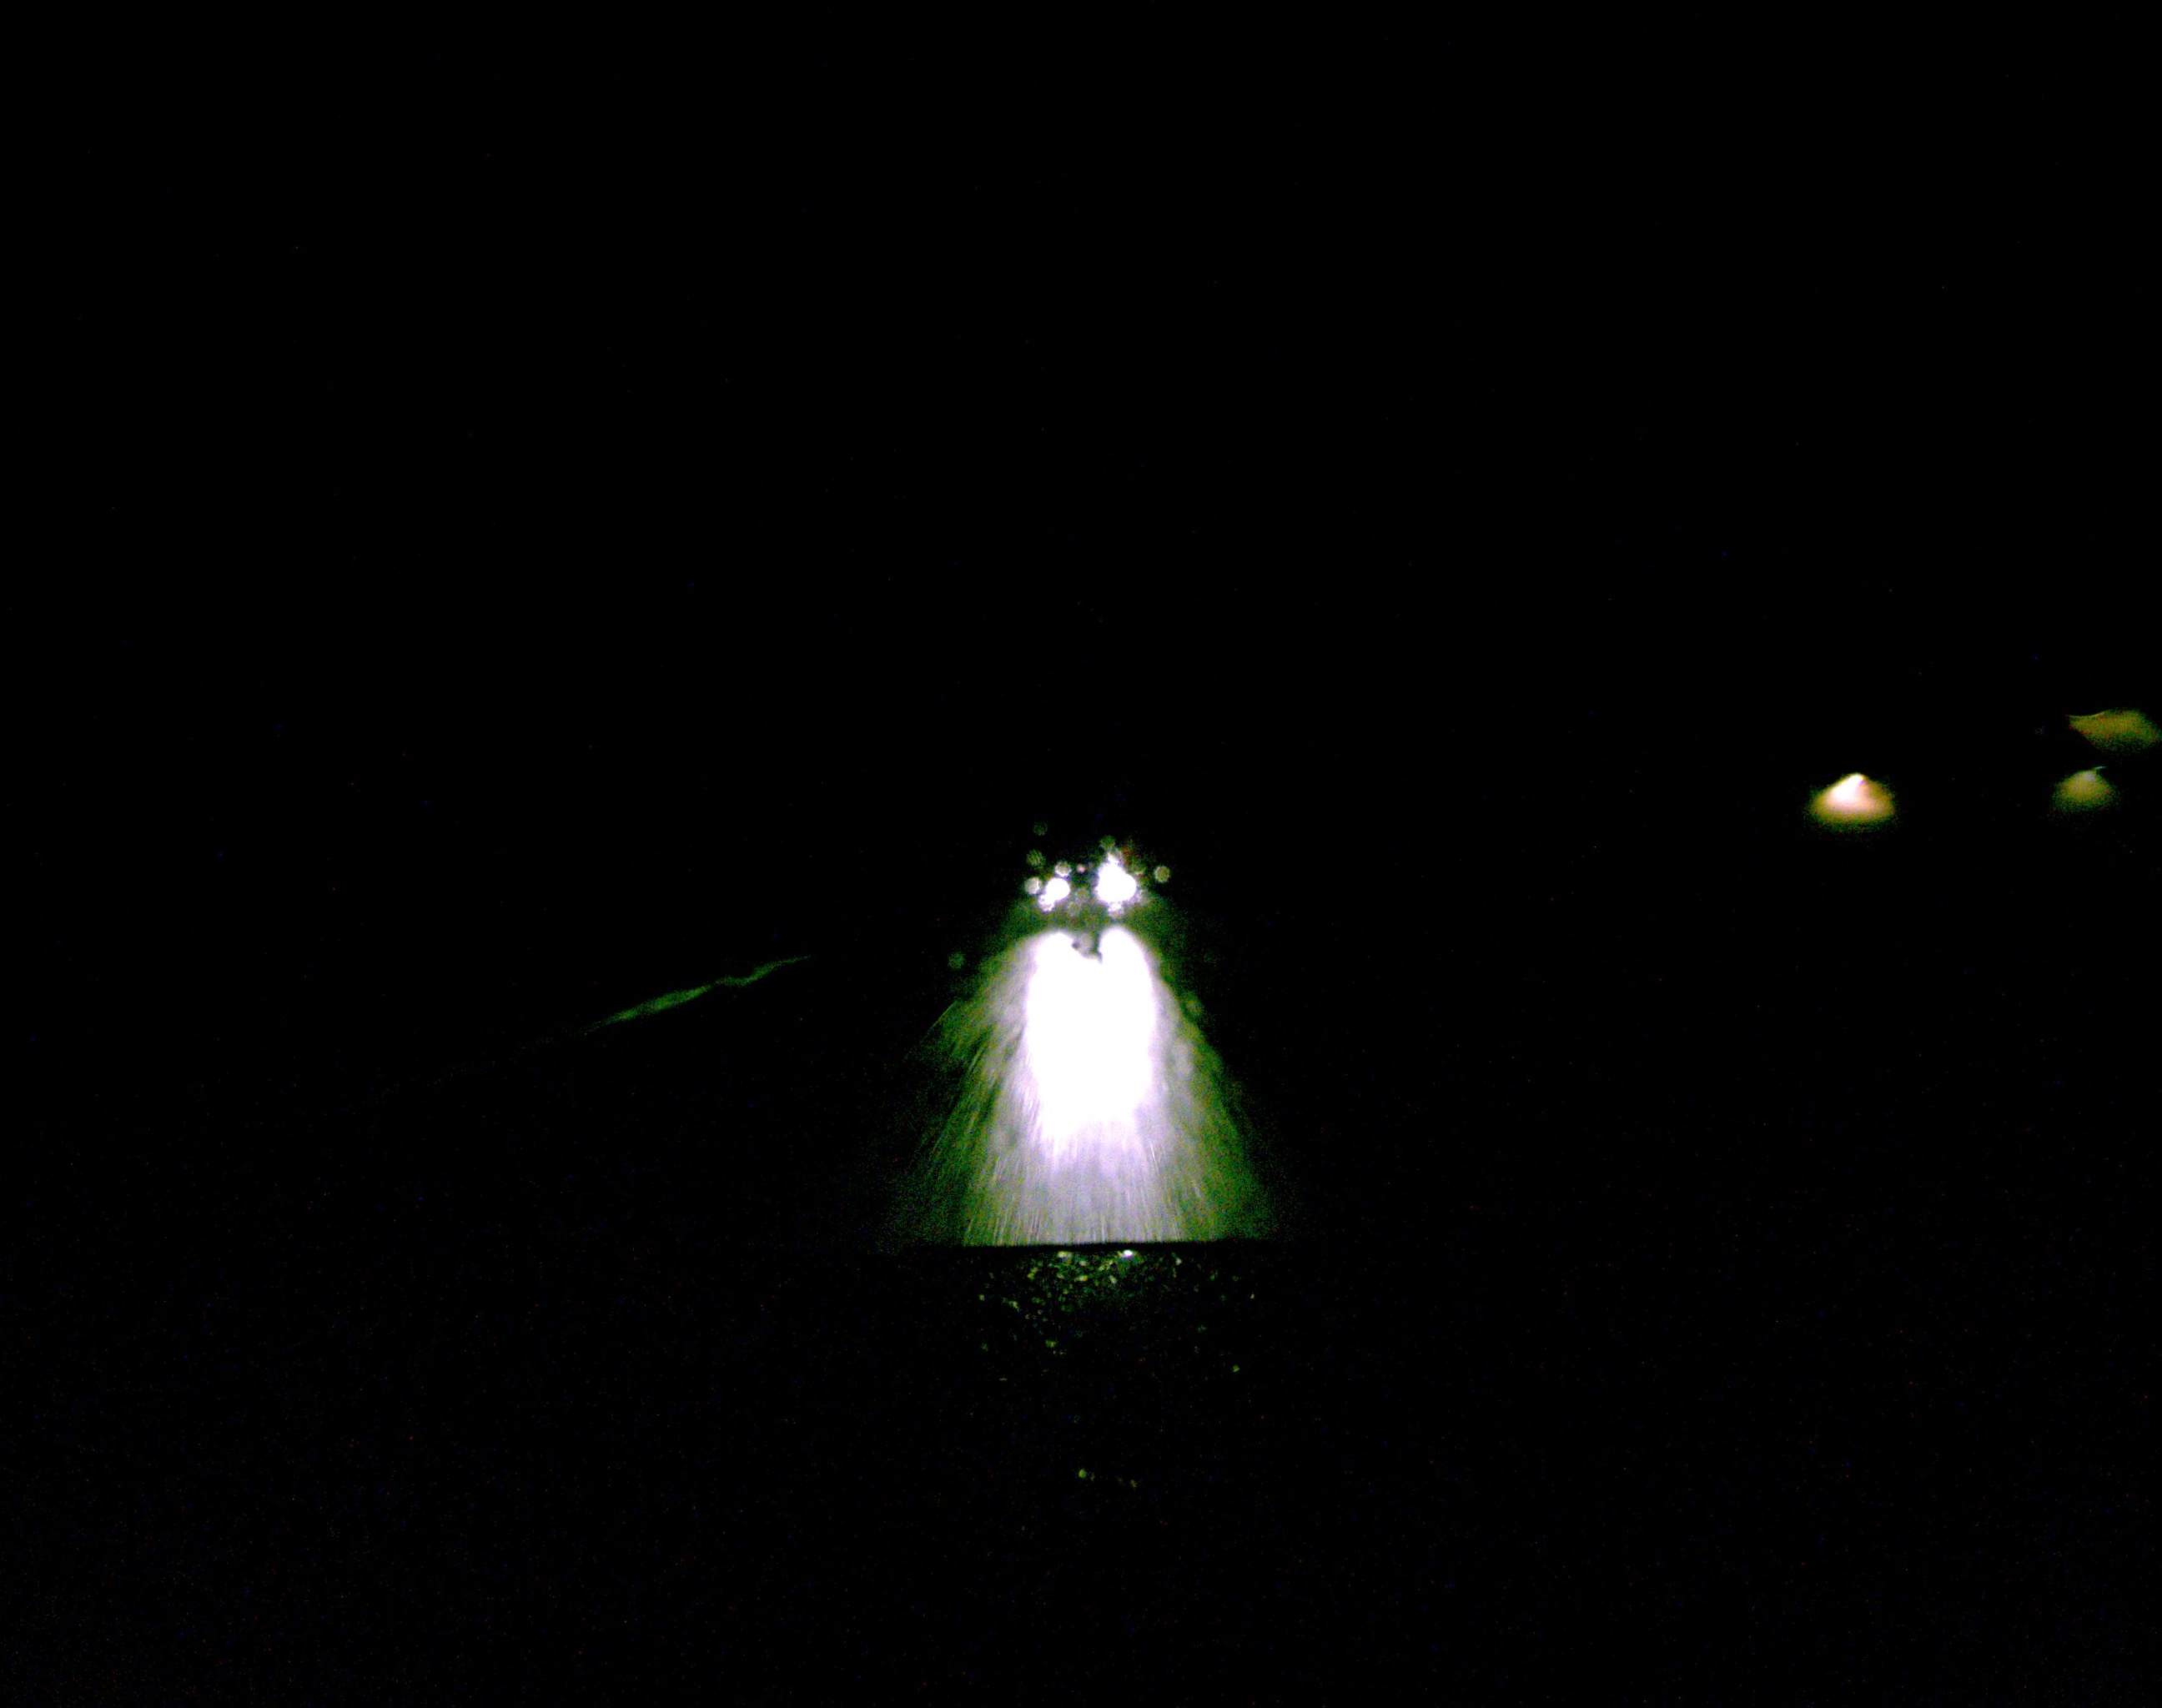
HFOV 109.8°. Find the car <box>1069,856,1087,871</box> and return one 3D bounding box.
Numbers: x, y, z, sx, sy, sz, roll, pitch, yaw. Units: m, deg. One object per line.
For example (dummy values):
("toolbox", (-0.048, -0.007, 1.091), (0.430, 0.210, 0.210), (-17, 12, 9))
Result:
("car", (-0.309, 1.053, 85.777), (1.846, 1.565, 4.000), (-2, 0, 1))

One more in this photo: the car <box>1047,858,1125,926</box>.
("car", (0.148, 0.938, 20.462), (1.846, 1.565, 4.000), (-2, 0, 1))
